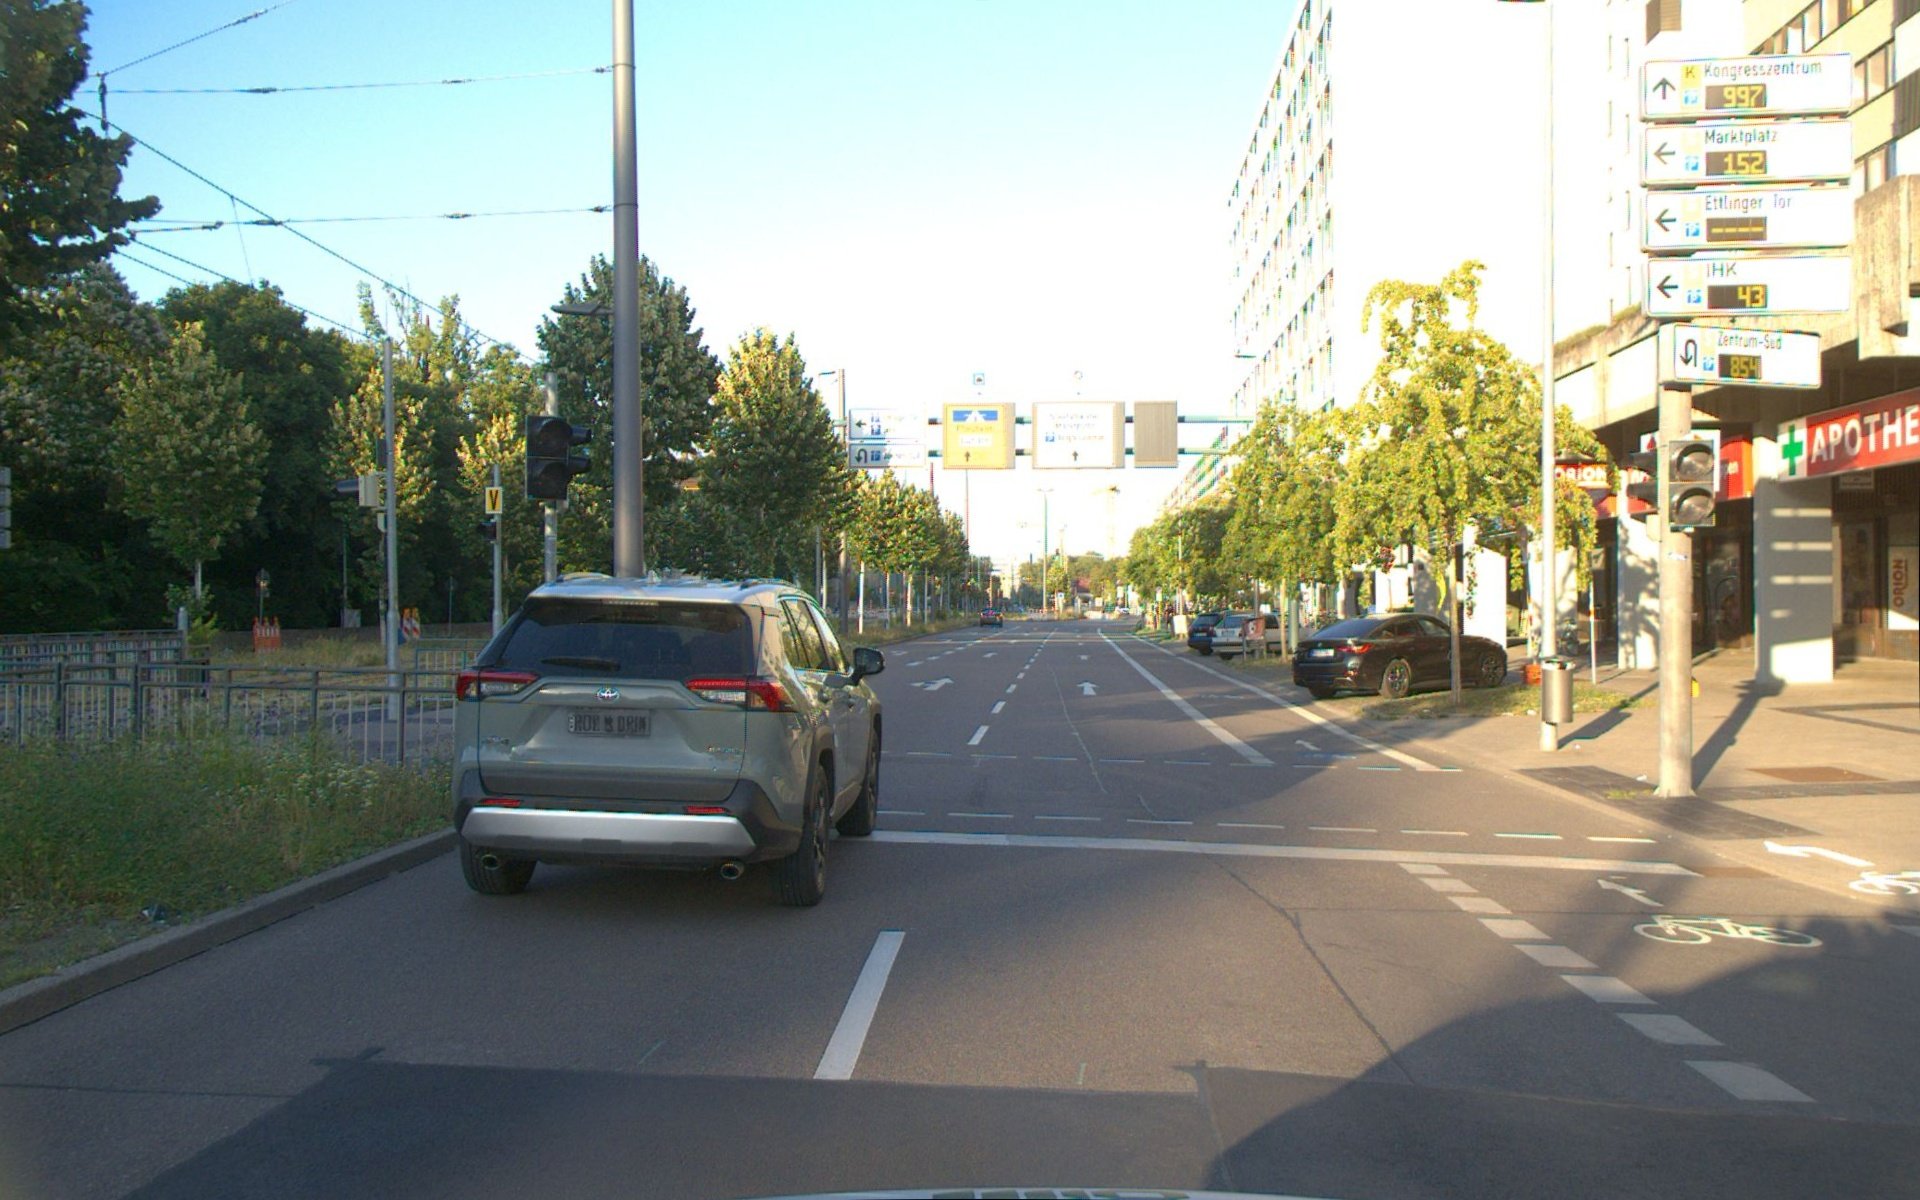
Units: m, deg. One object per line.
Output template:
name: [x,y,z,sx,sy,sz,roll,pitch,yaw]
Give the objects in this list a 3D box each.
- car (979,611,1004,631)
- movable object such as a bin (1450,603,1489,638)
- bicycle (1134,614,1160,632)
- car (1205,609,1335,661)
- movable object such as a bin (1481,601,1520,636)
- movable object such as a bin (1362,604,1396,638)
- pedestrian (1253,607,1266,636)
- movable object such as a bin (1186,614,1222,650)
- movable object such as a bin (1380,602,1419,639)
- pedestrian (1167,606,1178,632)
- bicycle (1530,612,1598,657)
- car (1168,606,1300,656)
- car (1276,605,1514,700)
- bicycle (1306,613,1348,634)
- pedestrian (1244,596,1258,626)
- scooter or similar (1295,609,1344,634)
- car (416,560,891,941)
car: [2.319,1.526,120.017,1.639,1.376,4.002,1,0,4]
movable object such as a bin: [19.716,0.773,64.000,1.157,1.336,1.125,-1,0,2]
bicycle: [13.522,1.685,119.675,1.757,1.214,0.567,-2,0,-1]
car: [9.784,1.087,52.145,3.945,1.441,1.730,-2,-1,-35]
movable object such as a bin: [20.896,0.713,63.950,1.157,1.336,1.088,-1,0,2]
movable object such as a bin: [17.289,0.849,68.352,1.082,1.353,1.283,-2,0,3]
pedestrian: [17.281,1.238,95.548,0.564,1.647,0.643,-2,0,1]
movable object such as a bin: [9.359,1.227,63.550,1.063,1.324,1.360,-2,0,-3]
movable object such as a bin: [16.988,0.775,63.929,1.157,1.346,1.267,-3,0,2]
pedestrian: [14.392,1.311,112.222,0.640,1.732,0.689,-2,0,3]
bicycle: [15.465,0.878,42.365,1.539,1.067,0.433,-2,0,2]
car: [9.751,1.088,58.703,4.618,1.535,1.915,-2,-1,-36]
car: [7.975,0.911,30.117,4.559,1.478,1.789,-2,0,-38]
bicycle: [18.343,1.176,82.689,1.975,0.974,0.620,-1,0,-3]
pedestrian: [18.012,0.691,102.348,0.740,1.856,0.941,-2,-1,13]
scooter or similar: [18.335,1.081,84.312,2.323,1.203,0.621,-2,0,3]
car: [-1.491,0.683,9.684,1.796,1.702,4.284,1,0,2]
